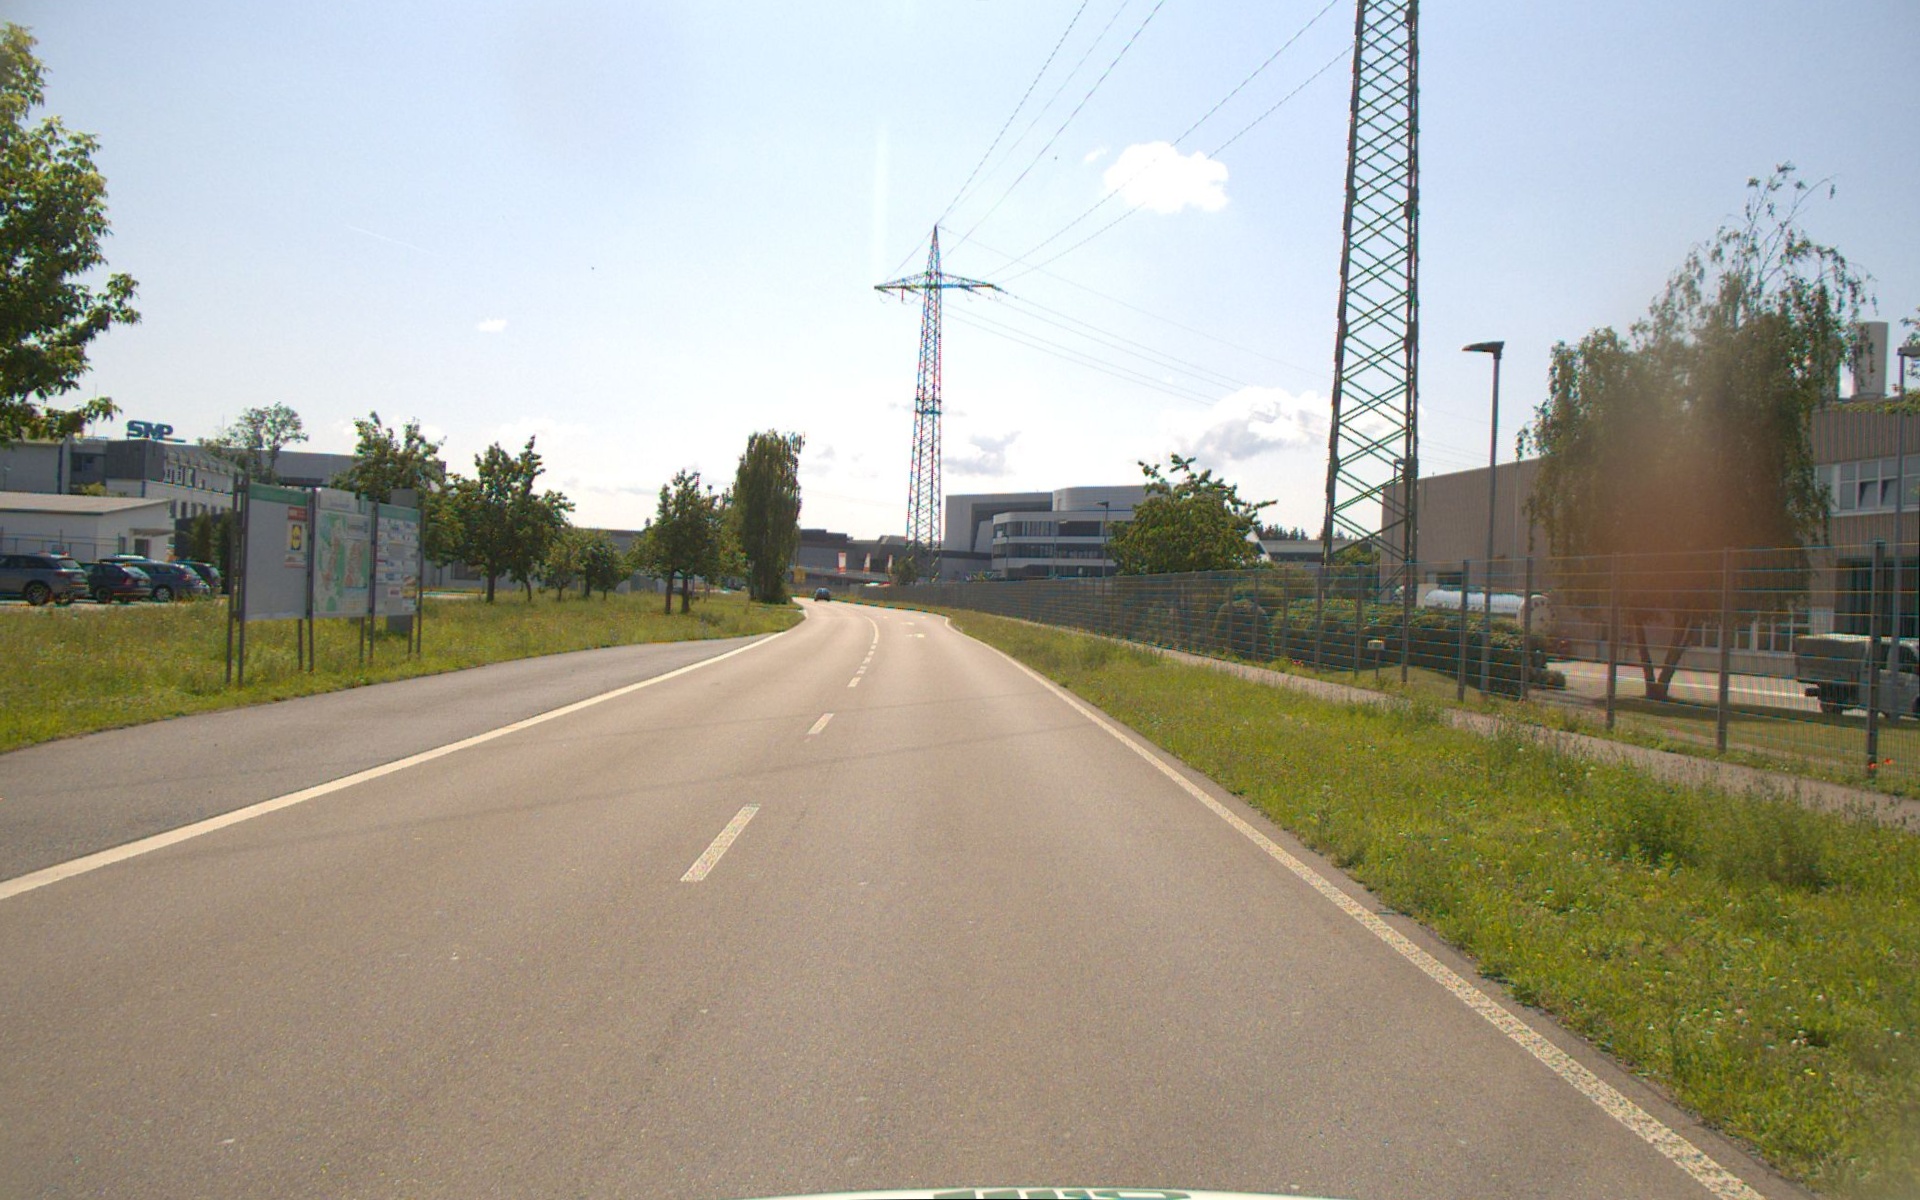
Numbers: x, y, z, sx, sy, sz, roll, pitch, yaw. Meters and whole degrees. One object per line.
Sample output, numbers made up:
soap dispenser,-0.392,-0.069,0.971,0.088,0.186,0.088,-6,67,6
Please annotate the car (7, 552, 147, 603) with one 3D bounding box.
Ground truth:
car,-30.835,-0.765,57.838,3.912,1.582,1.663,3,0,-8

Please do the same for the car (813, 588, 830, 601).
car,-16.701,-0.703,199.761,1.972,1.534,3.996,1,0,-5

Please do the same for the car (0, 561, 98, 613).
car,-30.348,-0.449,53.395,3.912,1.554,1.997,3,0,-8

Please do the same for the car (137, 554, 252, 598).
car,-32.343,-1.009,69.980,3.912,1.668,1.997,3,0,-8

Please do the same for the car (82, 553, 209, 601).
car,-31.625,-0.888,64.317,3.912,1.668,1.997,3,0,-8

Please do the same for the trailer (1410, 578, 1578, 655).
trailer,28.298,0.751,88.592,3.523,3.800,12.215,1,0,-8

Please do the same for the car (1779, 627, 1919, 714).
car,22.017,1.660,38.822,2.071,1.810,5.643,2,0,-9

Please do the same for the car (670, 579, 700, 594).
car,-37.003,-1.783,222.470,3.914,1.601,1.995,5,-2,-10
